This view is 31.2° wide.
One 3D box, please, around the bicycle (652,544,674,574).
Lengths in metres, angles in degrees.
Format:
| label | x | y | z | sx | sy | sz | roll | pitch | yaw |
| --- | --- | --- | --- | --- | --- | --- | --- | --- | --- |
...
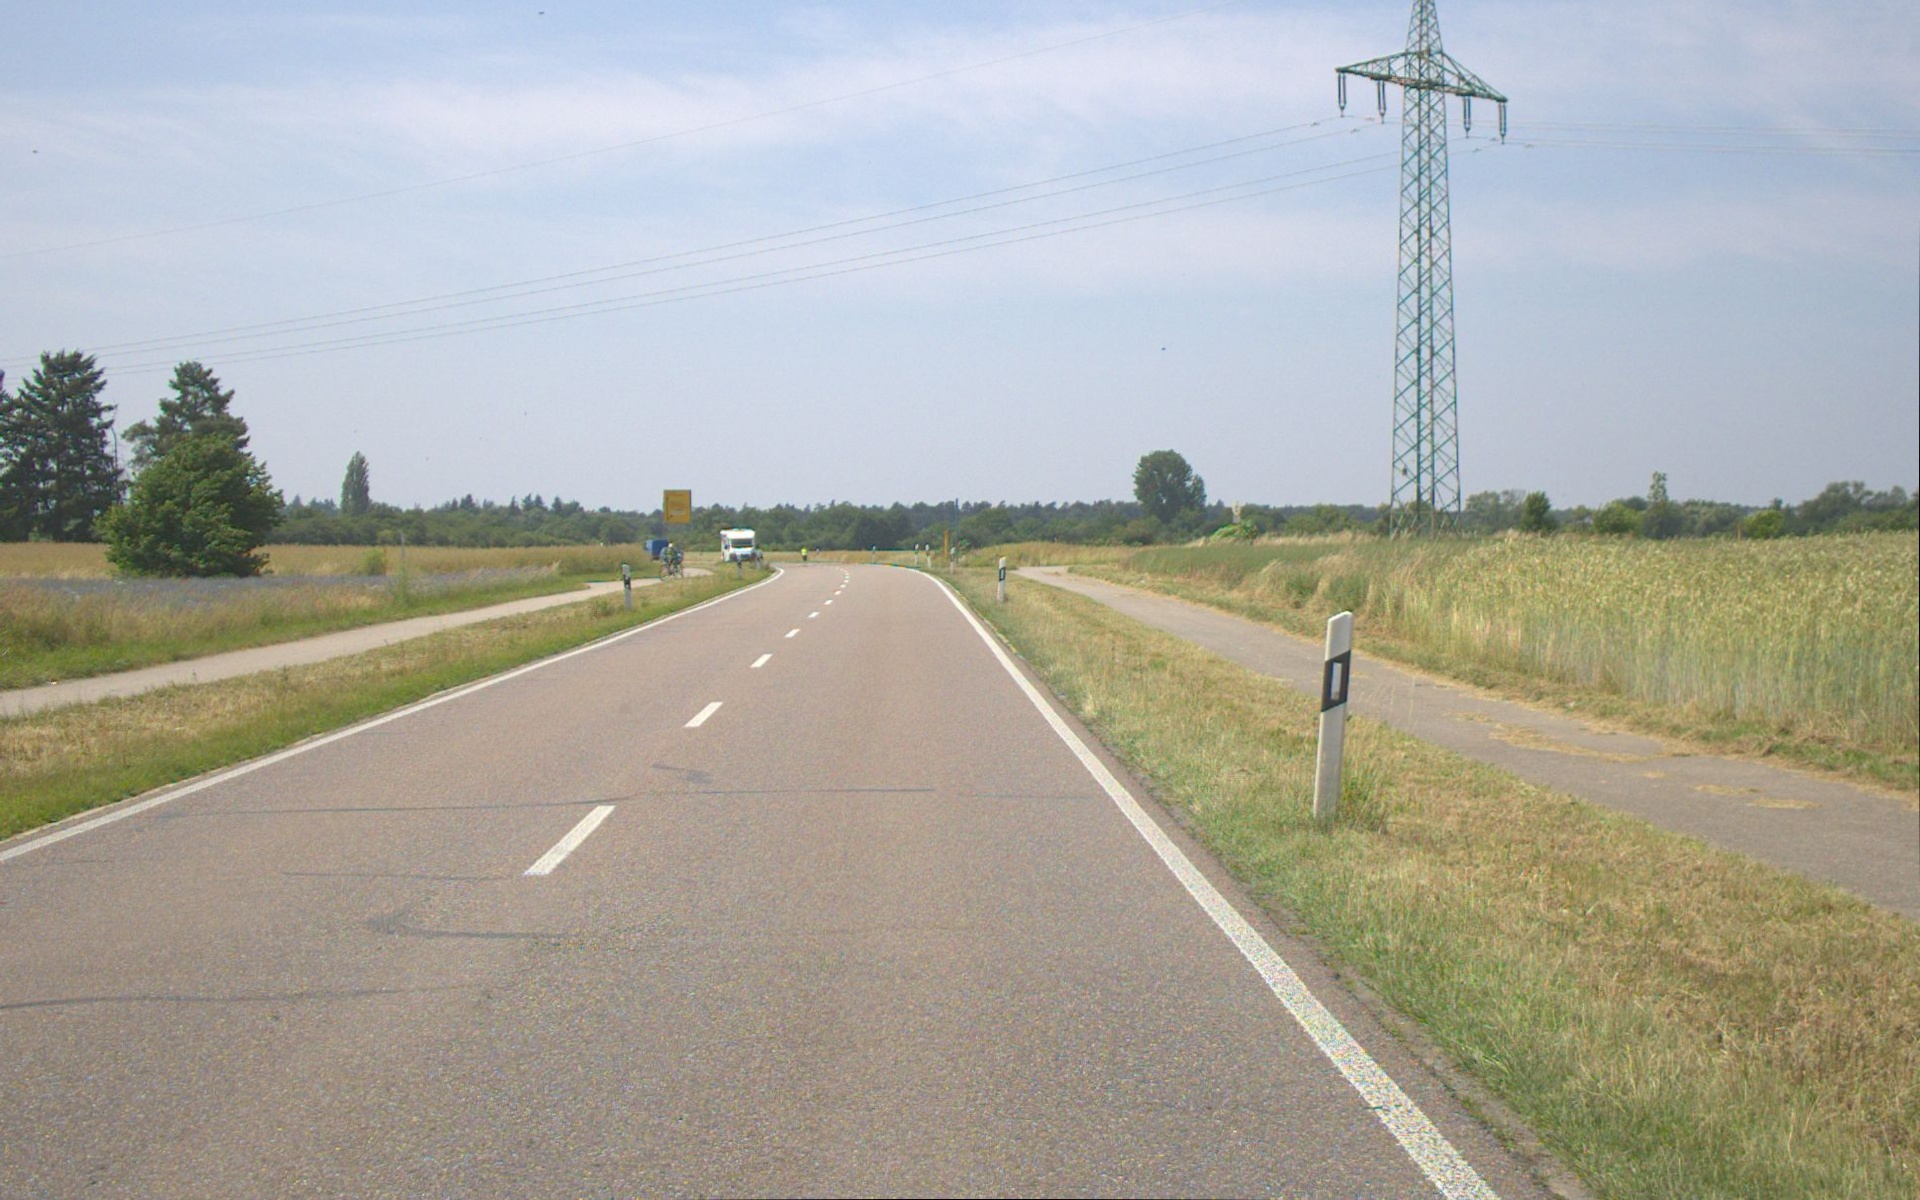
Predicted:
| label | x | y | z | sx | sy | sz | roll | pitch | yaw |
| --- | --- | --- | --- | --- | --- | --- | --- | --- | --- |
| bicycle | -12.661 | -1.743 | 146.420 | 0.762 | 1.224 | 2.216 | -1 | 1 | -1 |

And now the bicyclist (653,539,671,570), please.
| label | x | y | z | sx | sy | sz | roll | pitch | yaw |
| --- | --- | --- | --- | --- | --- | --- | --- | --- | --- |
| bicyclist | -12.682 | -1.935 | 146.318 | 0.701 | 1.326 | 0.965 | -1 | 1 | -1 |
